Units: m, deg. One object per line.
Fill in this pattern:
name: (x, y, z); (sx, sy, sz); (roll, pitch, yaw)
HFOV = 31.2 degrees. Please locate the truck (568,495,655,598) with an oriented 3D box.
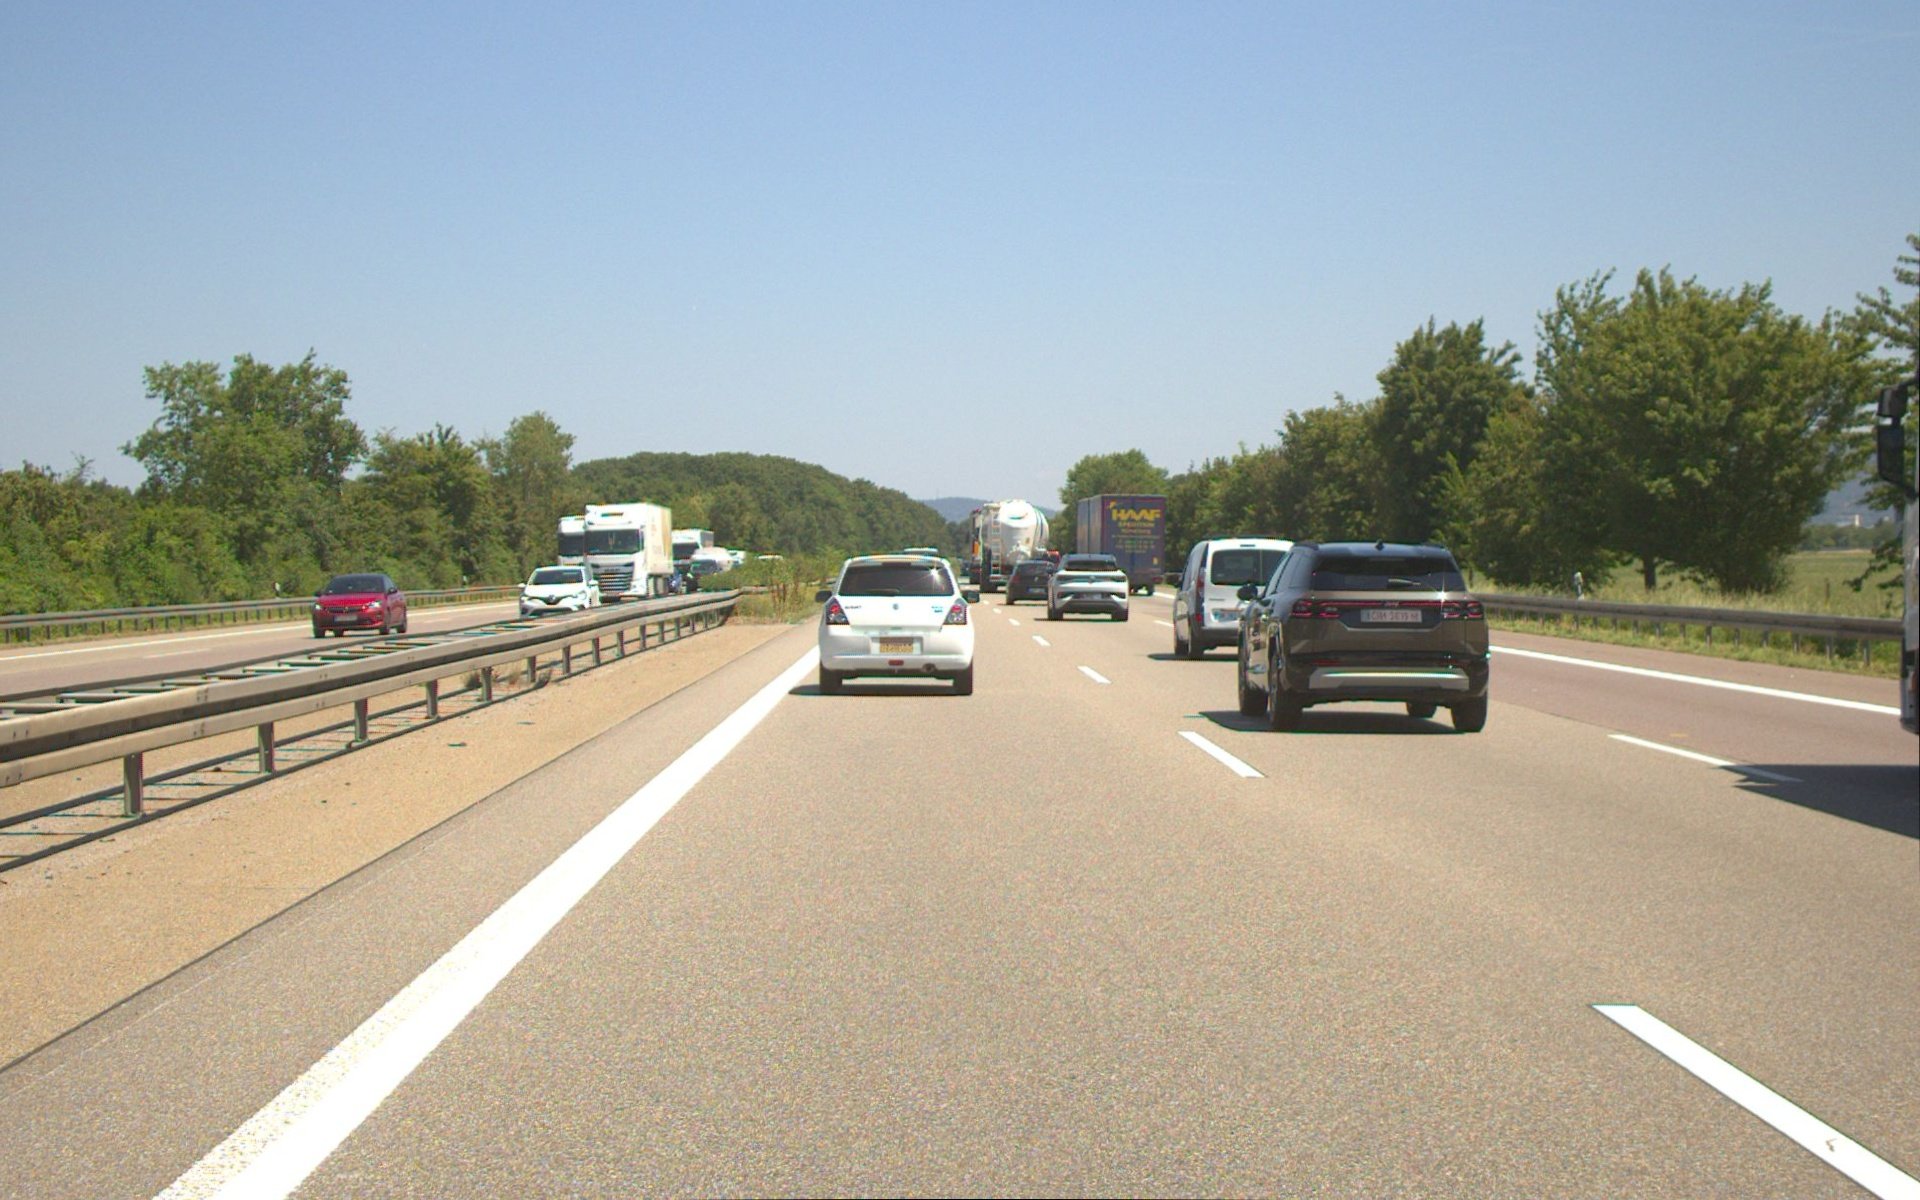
truck: (-14.326, -2.193, 141.701); (2.740, 4.071, 6.217); (-2, 1, 1)

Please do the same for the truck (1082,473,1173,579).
truck: (6.919, -3.003, 143.761); (3.109, 4.124, 15.511); (1, 1, 1)

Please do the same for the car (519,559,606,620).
car: (-9.799, -0.272, 84.905); (1.719, 1.417, 3.898); (-2, 0, -1)

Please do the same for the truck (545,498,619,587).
truck: (-18.329, -2.774, 166.954); (2.757, 4.089, 6.152); (-3, 1, 0)

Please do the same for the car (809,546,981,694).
car: (-0.725, 0.193, 38.355); (1.799, 1.547, 3.610); (1, 1, -1)

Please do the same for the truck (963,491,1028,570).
truck: (1.962, -3.783, 190.060); (3.394, 4.199, 12.083); (1, 1, 1)

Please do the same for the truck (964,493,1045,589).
truck: (1.885, -2.547, 149.814); (2.911, 4.065, 7.196); (1, 1, -4)

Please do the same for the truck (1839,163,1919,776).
truck: (8.121, -0.881, 22.469); (2.810, 4.290, 7.193); (1, 1, 0)

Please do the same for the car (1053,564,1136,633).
car: (3.257, -0.059, 83.890); (1.802, 1.597, 4.381); (1, 1, 0)

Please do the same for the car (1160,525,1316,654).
car: (4.208, -0.178, 52.617); (1.853, 1.856, 4.702); (1, 1, -2)

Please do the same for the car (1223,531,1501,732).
car: (3.575, 0.243, 31.410); (1.867, 1.669, 4.746); (1, 1, -1)

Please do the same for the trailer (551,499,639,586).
trailer: (-18.350, -2.851, 173.525); (2.757, 4.089, 14.053); (-3, 1, 0)

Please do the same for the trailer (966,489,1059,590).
trailer: (2.161, -2.523, 146.214); (2.911, 4.055, 12.420); (1, 1, -4)

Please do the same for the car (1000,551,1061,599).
car: (2.268, -0.817, 111.094); (1.850, 1.518, 3.957); (1, 1, 0)

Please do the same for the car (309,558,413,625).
car: (-13.964, -0.218, 80.316); (1.772, 1.412, 4.111); (-2, 1, -1)
